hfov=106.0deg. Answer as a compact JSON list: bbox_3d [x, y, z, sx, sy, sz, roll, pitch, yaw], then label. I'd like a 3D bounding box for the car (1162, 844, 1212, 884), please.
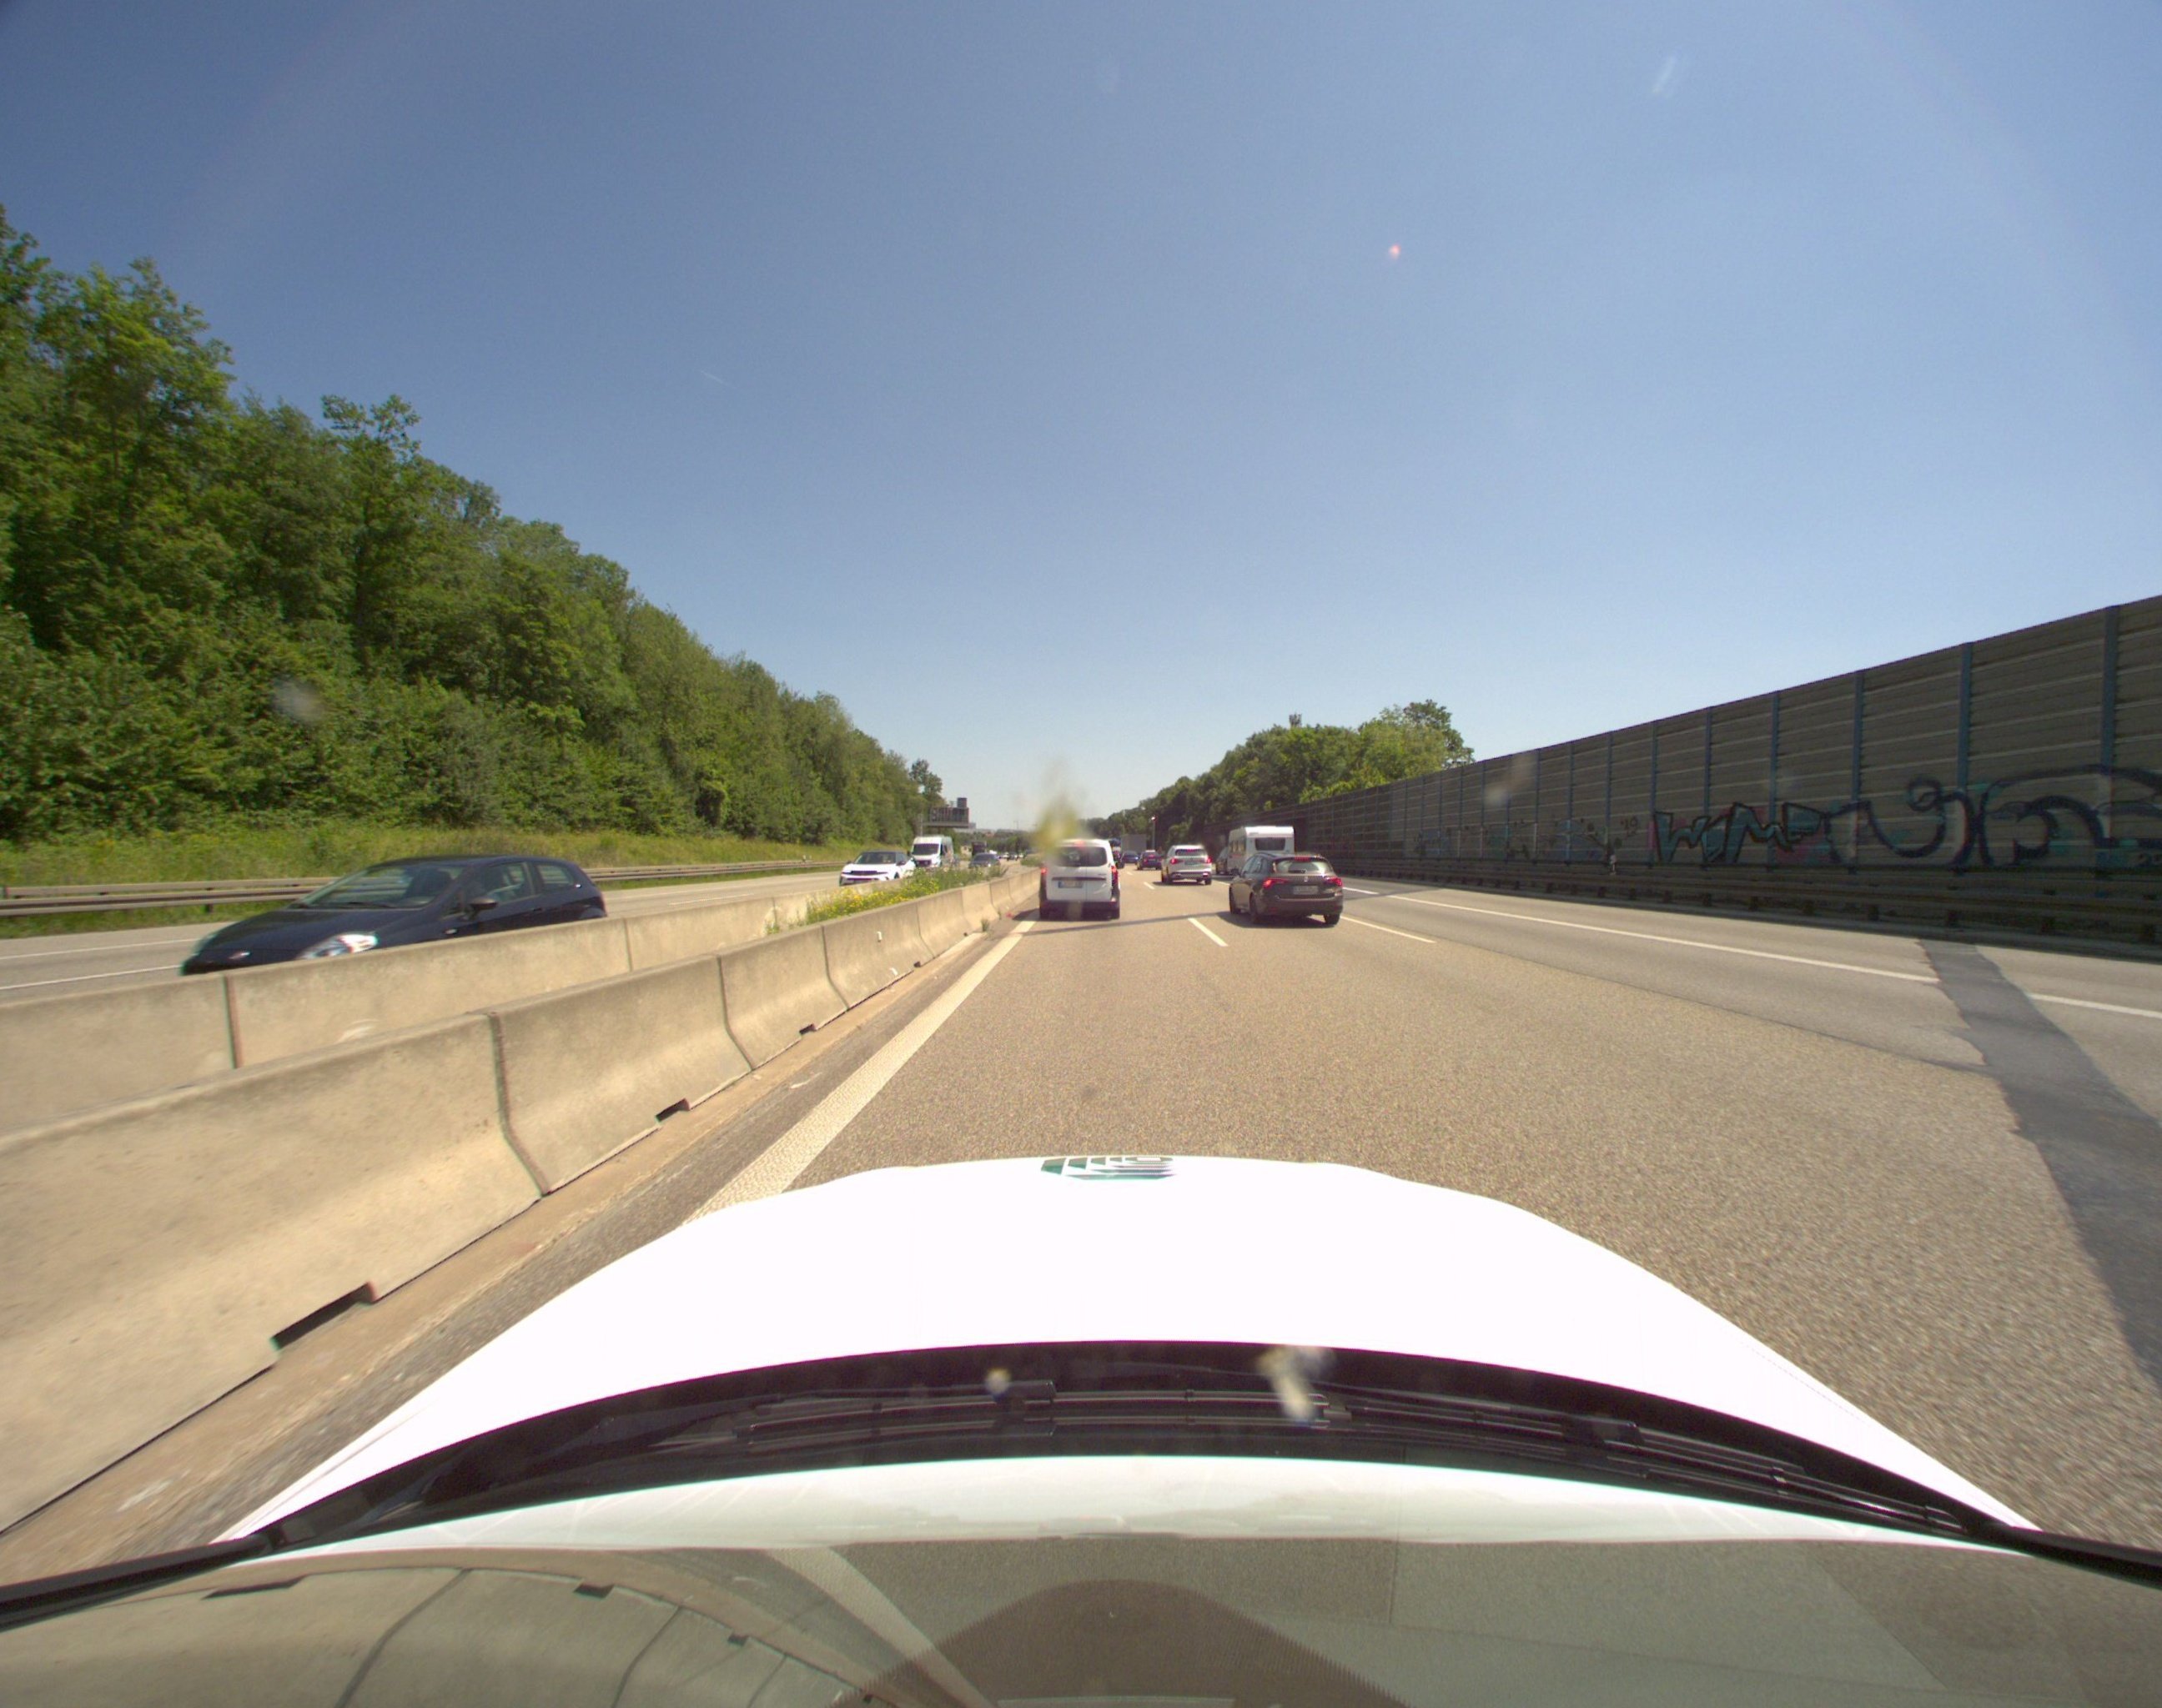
[{"bbox_3d":[4.569,0.397,35.466,1.863,1.608,3.882,0,0,3],"label":"car"}]

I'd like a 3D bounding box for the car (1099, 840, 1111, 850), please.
[{"bbox_3d":[5.028,-1.935,172.322,1.990,2.013,3.993,-1,0,-5],"label":"car"}]

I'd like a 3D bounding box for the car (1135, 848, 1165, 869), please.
[{"bbox_3d":[5.035,0.318,60.123,1.819,1.424,3.998,-1,0,-1],"label":"car"}]

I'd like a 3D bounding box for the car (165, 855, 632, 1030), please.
[{"bbox_3d":[-6.783,0.751,8.750,1.659,1.428,3.859,-1,0,2],"label":"car"}]

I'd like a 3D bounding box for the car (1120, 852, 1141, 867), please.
[{"bbox_3d":[5.011,0.526,82.500,1.819,1.424,3.998,-1,0,-1],"label":"car"}]

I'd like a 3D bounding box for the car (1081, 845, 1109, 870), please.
[{"bbox_3d":[1.045,0.271,62.122,1.988,1.860,3.998,-1,0,-1],"label":"car"}]

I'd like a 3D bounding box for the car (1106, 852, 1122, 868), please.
[{"bbox_3d":[4.268,0.821,107.191,1.819,1.989,3.997,-1,-1,-1],"label":"car"}]

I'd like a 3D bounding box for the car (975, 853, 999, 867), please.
[{"bbox_3d":[-9.439,0.594,82.040,1.807,1.402,4.272,0,1,1],"label":"car"}]

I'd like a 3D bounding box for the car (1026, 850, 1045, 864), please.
[{"bbox_3d":[-5.743,0.401,103.049,1.986,1.724,4.357,0,0,1],"label":"car"}]

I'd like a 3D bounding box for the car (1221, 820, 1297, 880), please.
[{"bbox_3d":[8.894,-0.191,41.276,2.471,2.766,6.218,-1,0,0],"label":"car"}]

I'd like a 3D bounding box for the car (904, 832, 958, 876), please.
[{"bbox_3d":[-9.754,0.022,53.509,2.207,2.701,6.064,0,0,1],"label":"car"}]

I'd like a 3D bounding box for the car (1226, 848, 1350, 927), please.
[{"bbox_3d":[4.382,0.628,17.890,1.830,1.513,4.405,0,0,3],"label":"car"}]

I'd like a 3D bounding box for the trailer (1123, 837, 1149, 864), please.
[{"bbox_3d":[8.302,-0.498,123.519,3.073,3.985,10.317,-1,0,-1],"label":"trailer"}]

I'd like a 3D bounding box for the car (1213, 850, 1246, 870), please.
[{"bbox_3d":[10.954,0.456,60.256,1.818,1.424,4.000,-1,0,1],"label":"car"}]

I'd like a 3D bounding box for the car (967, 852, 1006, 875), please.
[{"bbox_3d":[-5.964,0.587,51.987,1.868,1.410,4.413,0,0,1],"label":"car"}]

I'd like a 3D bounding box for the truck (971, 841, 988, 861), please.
[{"bbox_3d":[-20.341,-0.615,163.687,2.822,3.939,6.002,-1,0,-2],"label":"truck"}]

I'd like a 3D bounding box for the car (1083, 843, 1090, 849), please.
[{"bbox_3d":[1.625,-2.277,236.612,1.989,1.728,3.995,-1,0,-3],"label":"car"}]

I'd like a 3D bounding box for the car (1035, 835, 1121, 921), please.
[{"bbox_3d":[0.041,0.513,19.483,1.795,1.808,4.003,-1,0,3],"label":"car"}]

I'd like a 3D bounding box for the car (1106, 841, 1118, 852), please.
[{"bbox_3d":[5.891,-1.422,155.192,1.988,2.013,3.998,-1,0,-1],"label":"car"}]

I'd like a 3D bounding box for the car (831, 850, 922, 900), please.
[{"bbox_3d":[-6.720,0.651,27.245,1.797,1.527,4.259,-1,0,2],"label":"car"}]

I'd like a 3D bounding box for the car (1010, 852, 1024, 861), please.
[{"bbox_3d":[-11.575,0.434,147.688,1.987,1.627,4.474,0,0,0],"label":"car"}]
